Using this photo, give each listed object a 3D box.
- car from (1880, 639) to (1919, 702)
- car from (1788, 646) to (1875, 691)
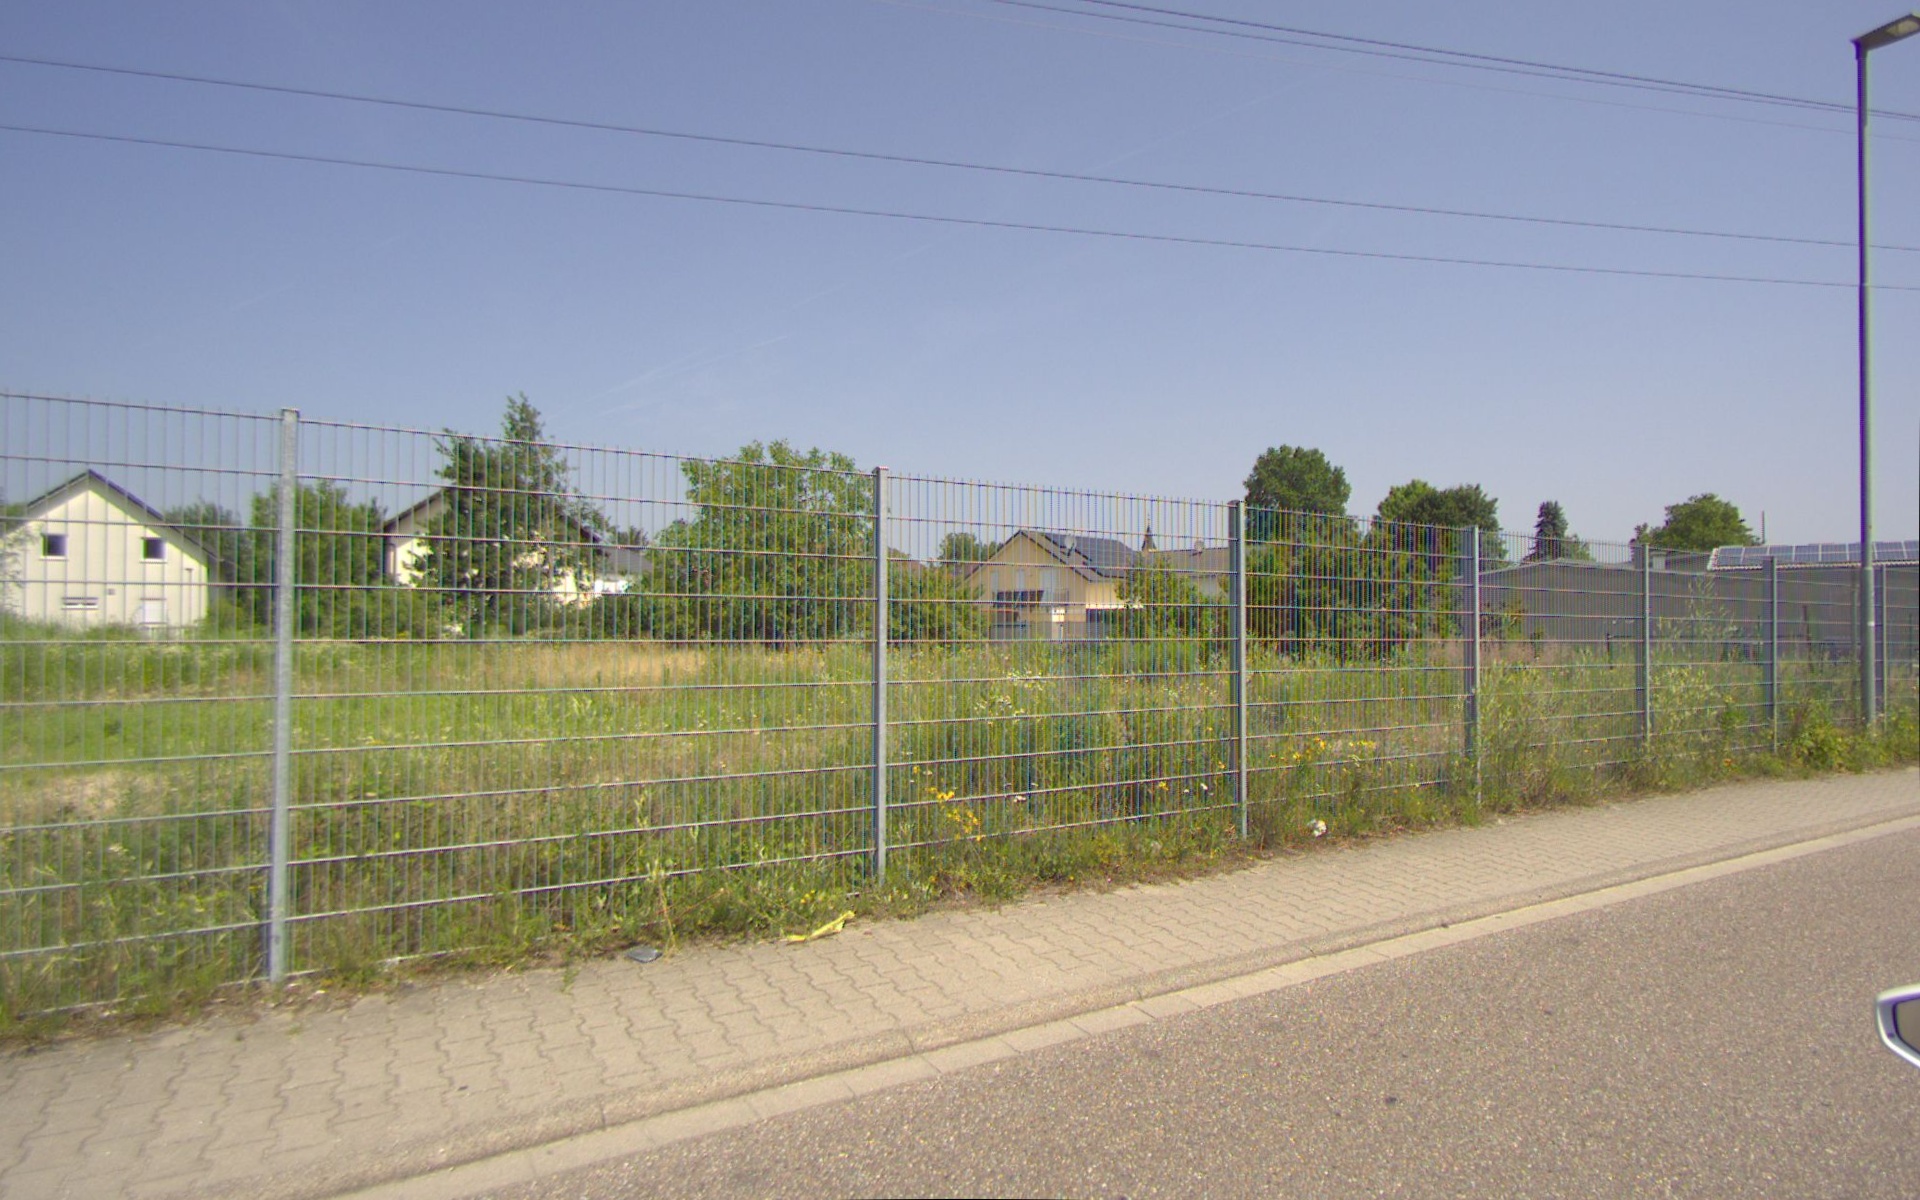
[{"bbox_3d":[22.190,1.509,20.857,4.496,1.324,1.859,0,-2,41],"label":"car"},{"bbox_3d":[30.702,2.373,35.484,1.837,1.433,3.432,0,-1,33],"label":"car"}]
